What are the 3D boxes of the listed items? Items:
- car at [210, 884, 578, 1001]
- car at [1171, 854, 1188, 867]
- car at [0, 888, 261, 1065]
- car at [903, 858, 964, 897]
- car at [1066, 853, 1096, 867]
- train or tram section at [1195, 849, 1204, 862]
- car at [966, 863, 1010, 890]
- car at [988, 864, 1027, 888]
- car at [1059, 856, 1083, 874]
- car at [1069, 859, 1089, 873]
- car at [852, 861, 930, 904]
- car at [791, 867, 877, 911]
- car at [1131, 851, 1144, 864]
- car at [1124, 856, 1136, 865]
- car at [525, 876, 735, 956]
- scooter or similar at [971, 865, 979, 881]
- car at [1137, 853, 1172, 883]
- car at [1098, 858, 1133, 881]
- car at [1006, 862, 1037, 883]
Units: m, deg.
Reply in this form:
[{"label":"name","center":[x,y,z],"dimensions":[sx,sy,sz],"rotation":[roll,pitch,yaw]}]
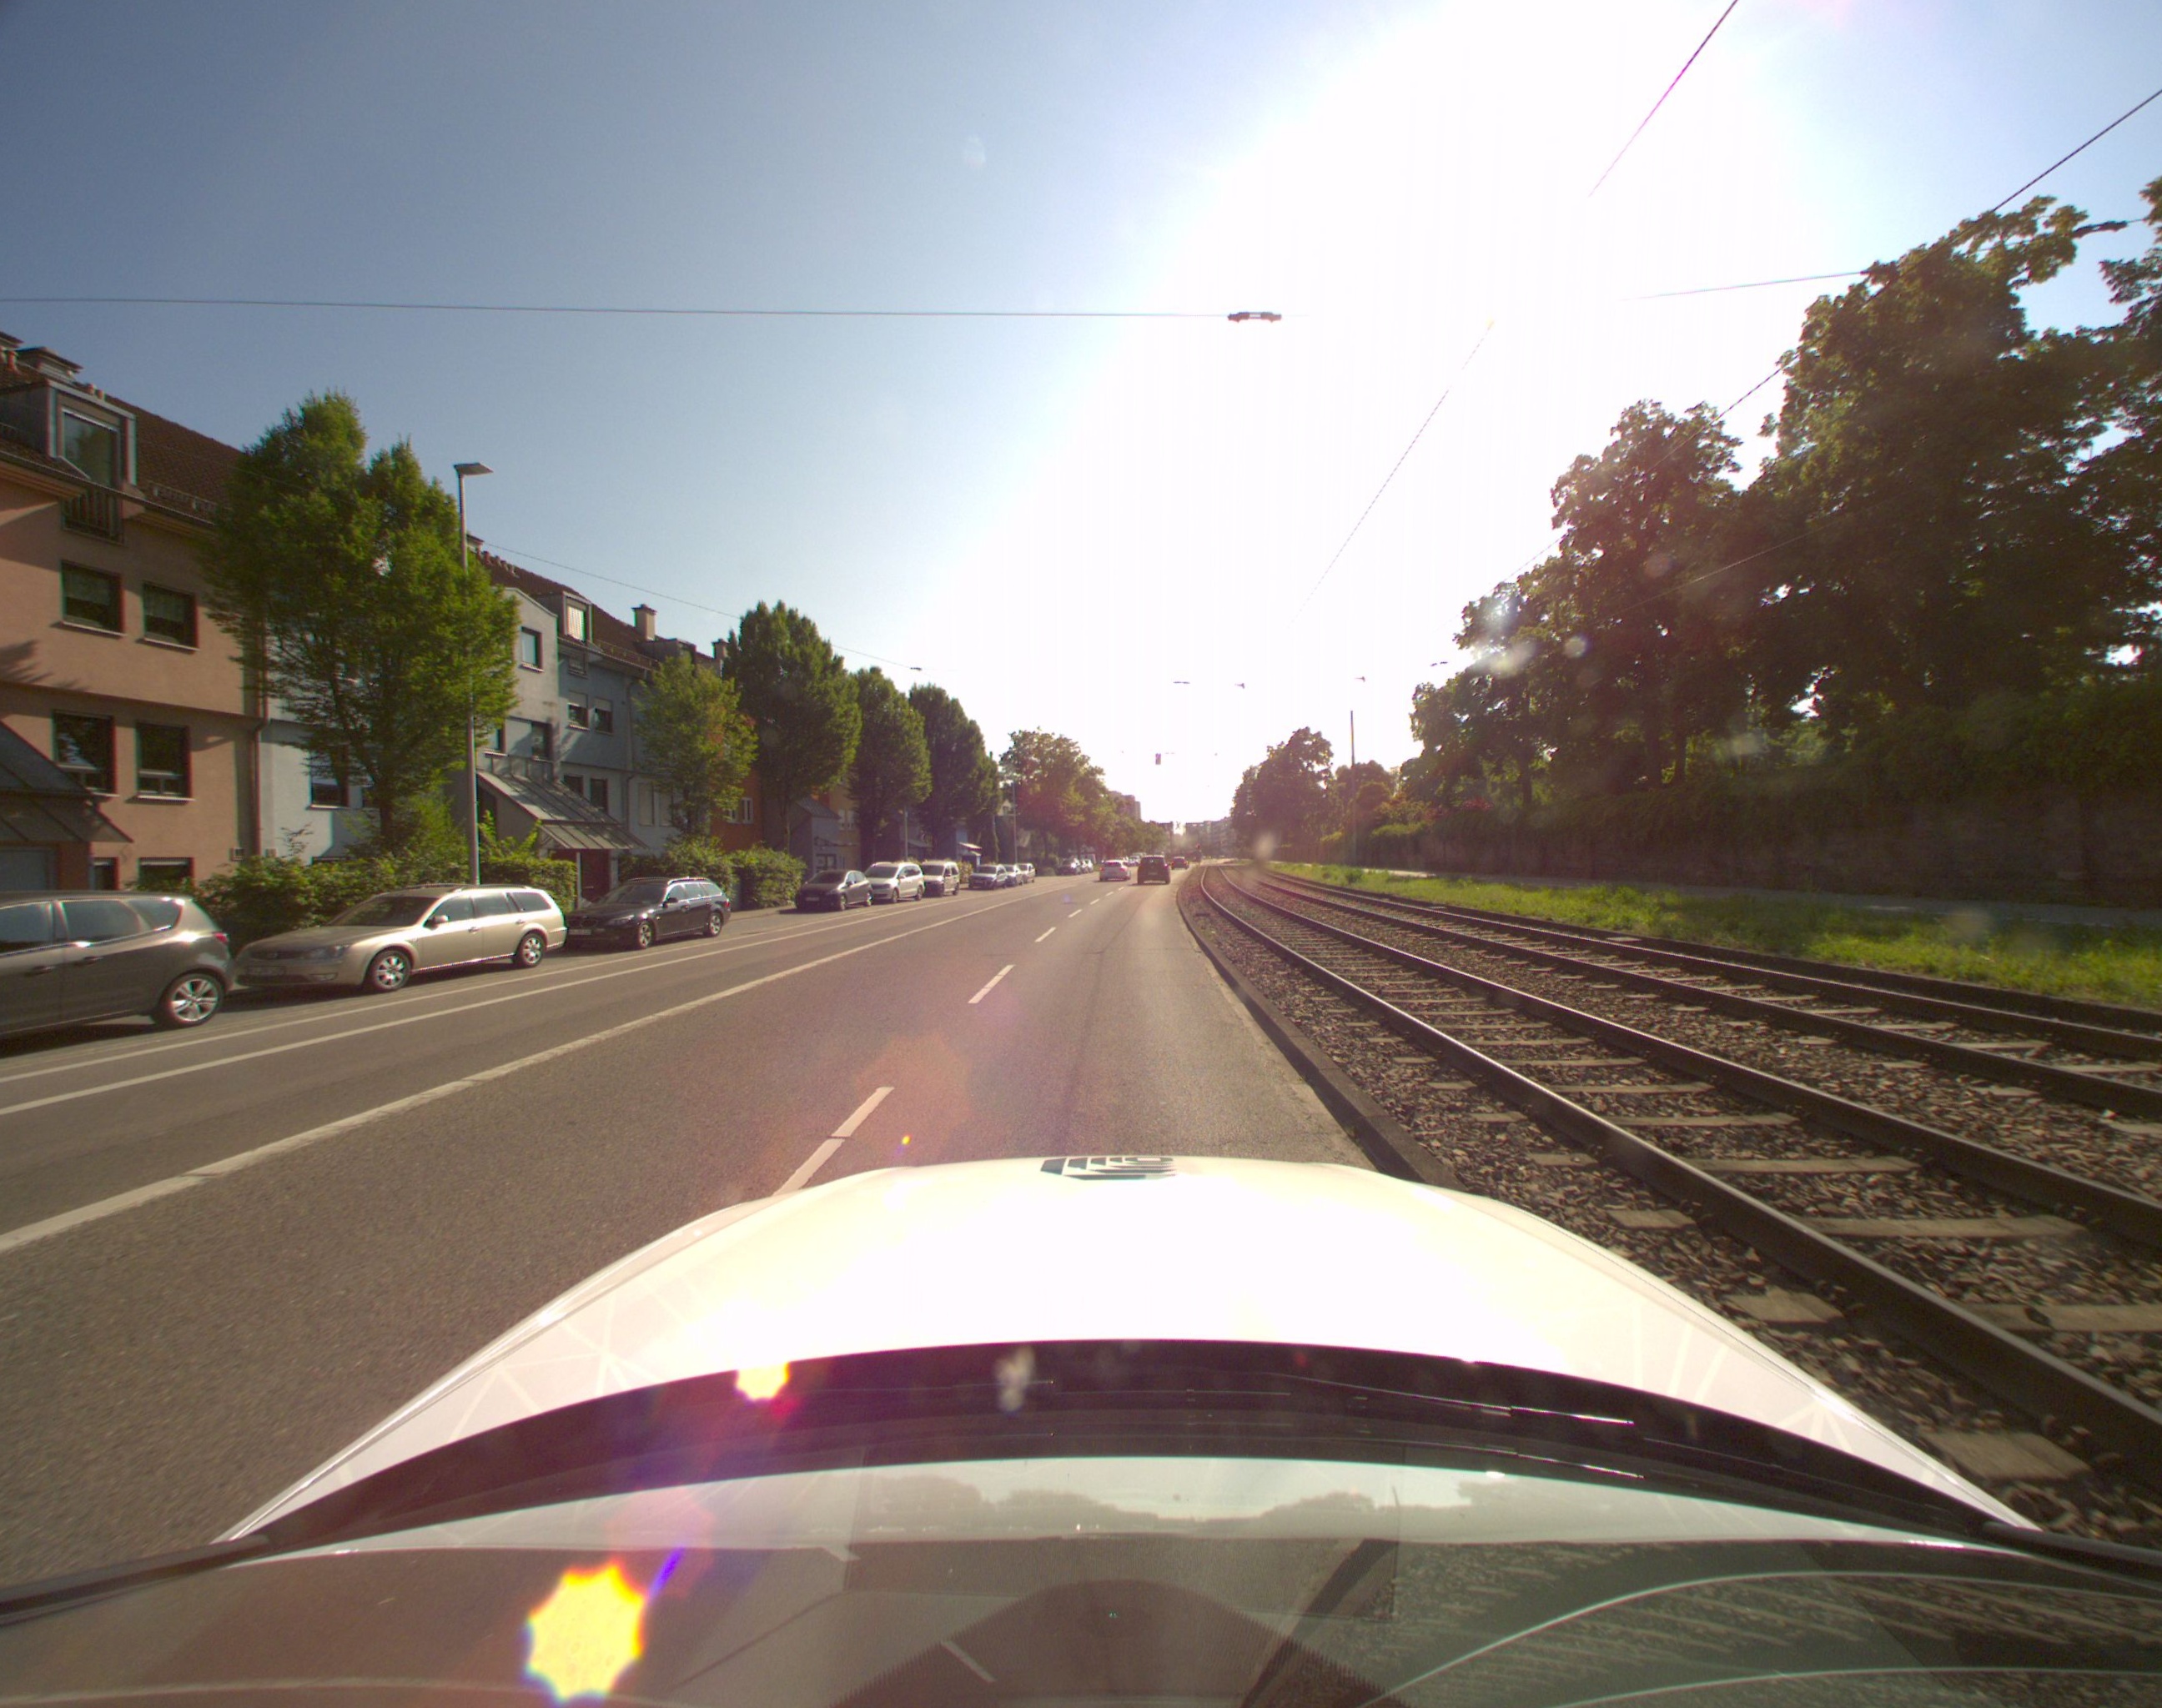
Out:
[{"label":"car","center":[-10.754,1.285,13.390],"dimensions":[1.705,1.471,4.848],"rotation":[0,-1,3]},{"label":"car","center":[11.304,0.737,93.688],"dimensions":[1.801,1.449,4.010],"rotation":[-1,0,9]},{"label":"car","center":[-11.036,1.191,7.924],"dimensions":[1.757,1.574,4.297],"rotation":[0,0,-1]},{"label":"car","center":[-7.535,1.154,42.109],"dimensions":[1.753,1.845,4.589],"rotation":[3,0,7]},{"label":"car","center":[0.074,1.164,156.001],"dimensions":[5.344,2.423,2.093],"rotation":[-2,0,9]},{"label":"train or tram section","center":[35.446,0.375,243.956],"dimensions":[2.313,3.570,8.922],"rotation":[-2,0,9]},{"label":"car","center":[-5.901,1.387,52.075],"dimensions":[1.752,1.539,3.991],"rotation":[3,0,9]},{"label":"car","center":[-5.076,1.512,56.880],"dimensions":[1.740,1.510,4.764],"rotation":[2,0,6]},{"label":"car","center":[-0.999,1.143,83.503],"dimensions":[1.702,1.694,4.434],"rotation":[-2,0,9]},{"label":"car","center":[-0.211,1.286,89.166],"dimensions":[1.668,1.468,3.976],"rotation":[-2,0,7]},{"label":"car","center":[-8.272,1.193,35.913],"dimensions":[1.658,1.701,4.836],"rotation":[0,0,9]},{"label":"car","center":[-9.166,1.269,30.583],"dimensions":[1.607,1.466,4.065],"rotation":[0,0,6]},{"label":"car","center":[11.177,0.666,161.251],"dimensions":[1.852,2.347,4.999],"rotation":[-2,0,10]},{"label":"car","center":[9.068,1.217,149.406],"dimensions":[1.721,1.450,3.746],"rotation":[-2,0,10]},{"label":"car","center":[-10.171,1.326,18.910],"dimensions":[1.701,1.472,4.918],"rotation":[0,0,6]},{"label":"scooter or similar","center":[-7.730,1.398,59.312],"dimensions":[0.292,1.153,1.044],"rotation":[-2,0,4]},{"label":"car","center":[4.318,0.799,47.244],"dimensions":[1.801,1.645,4.009],"rotation":[-1,-1,8]},{"label":"car","center":[2.354,1.008,54.281],"dimensions":[1.854,1.348,4.010],"rotation":[-2,0,9]},{"label":"car","center":[-4.505,1.387,62.319],"dimensions":[1.592,1.494,3.517],"rotation":[2,0,8]}]
